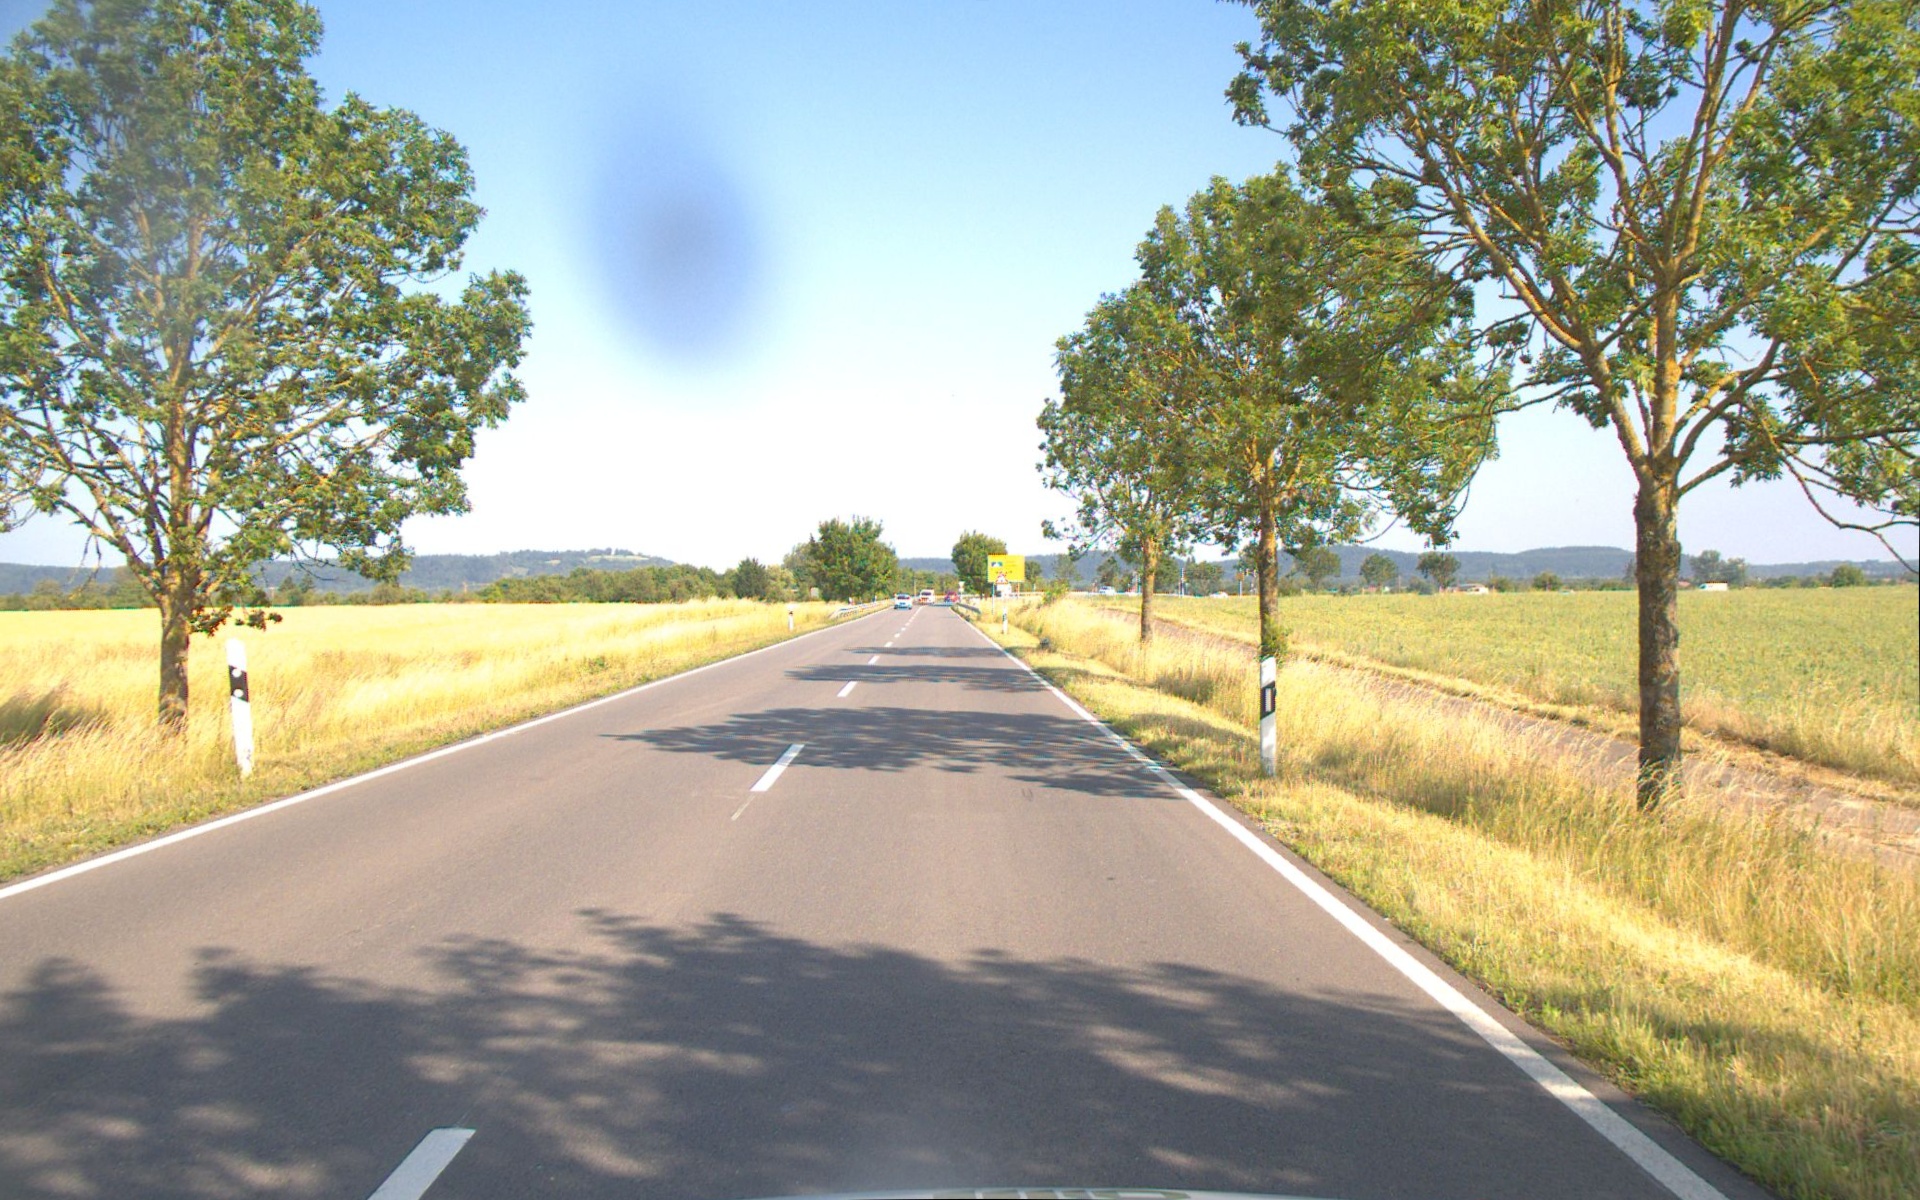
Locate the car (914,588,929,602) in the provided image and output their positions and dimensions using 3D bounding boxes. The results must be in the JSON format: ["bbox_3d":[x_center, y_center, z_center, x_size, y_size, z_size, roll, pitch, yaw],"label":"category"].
[{"bbox_3d":[-5.110,-0.684,219.712,1.799,1.818,4.434,0,0,-1],"label":"car"}]

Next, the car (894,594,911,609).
[{"bbox_3d":[-5.799,0.159,167.675,1.691,1.462,4.515,0,0,-1],"label":"car"}]
